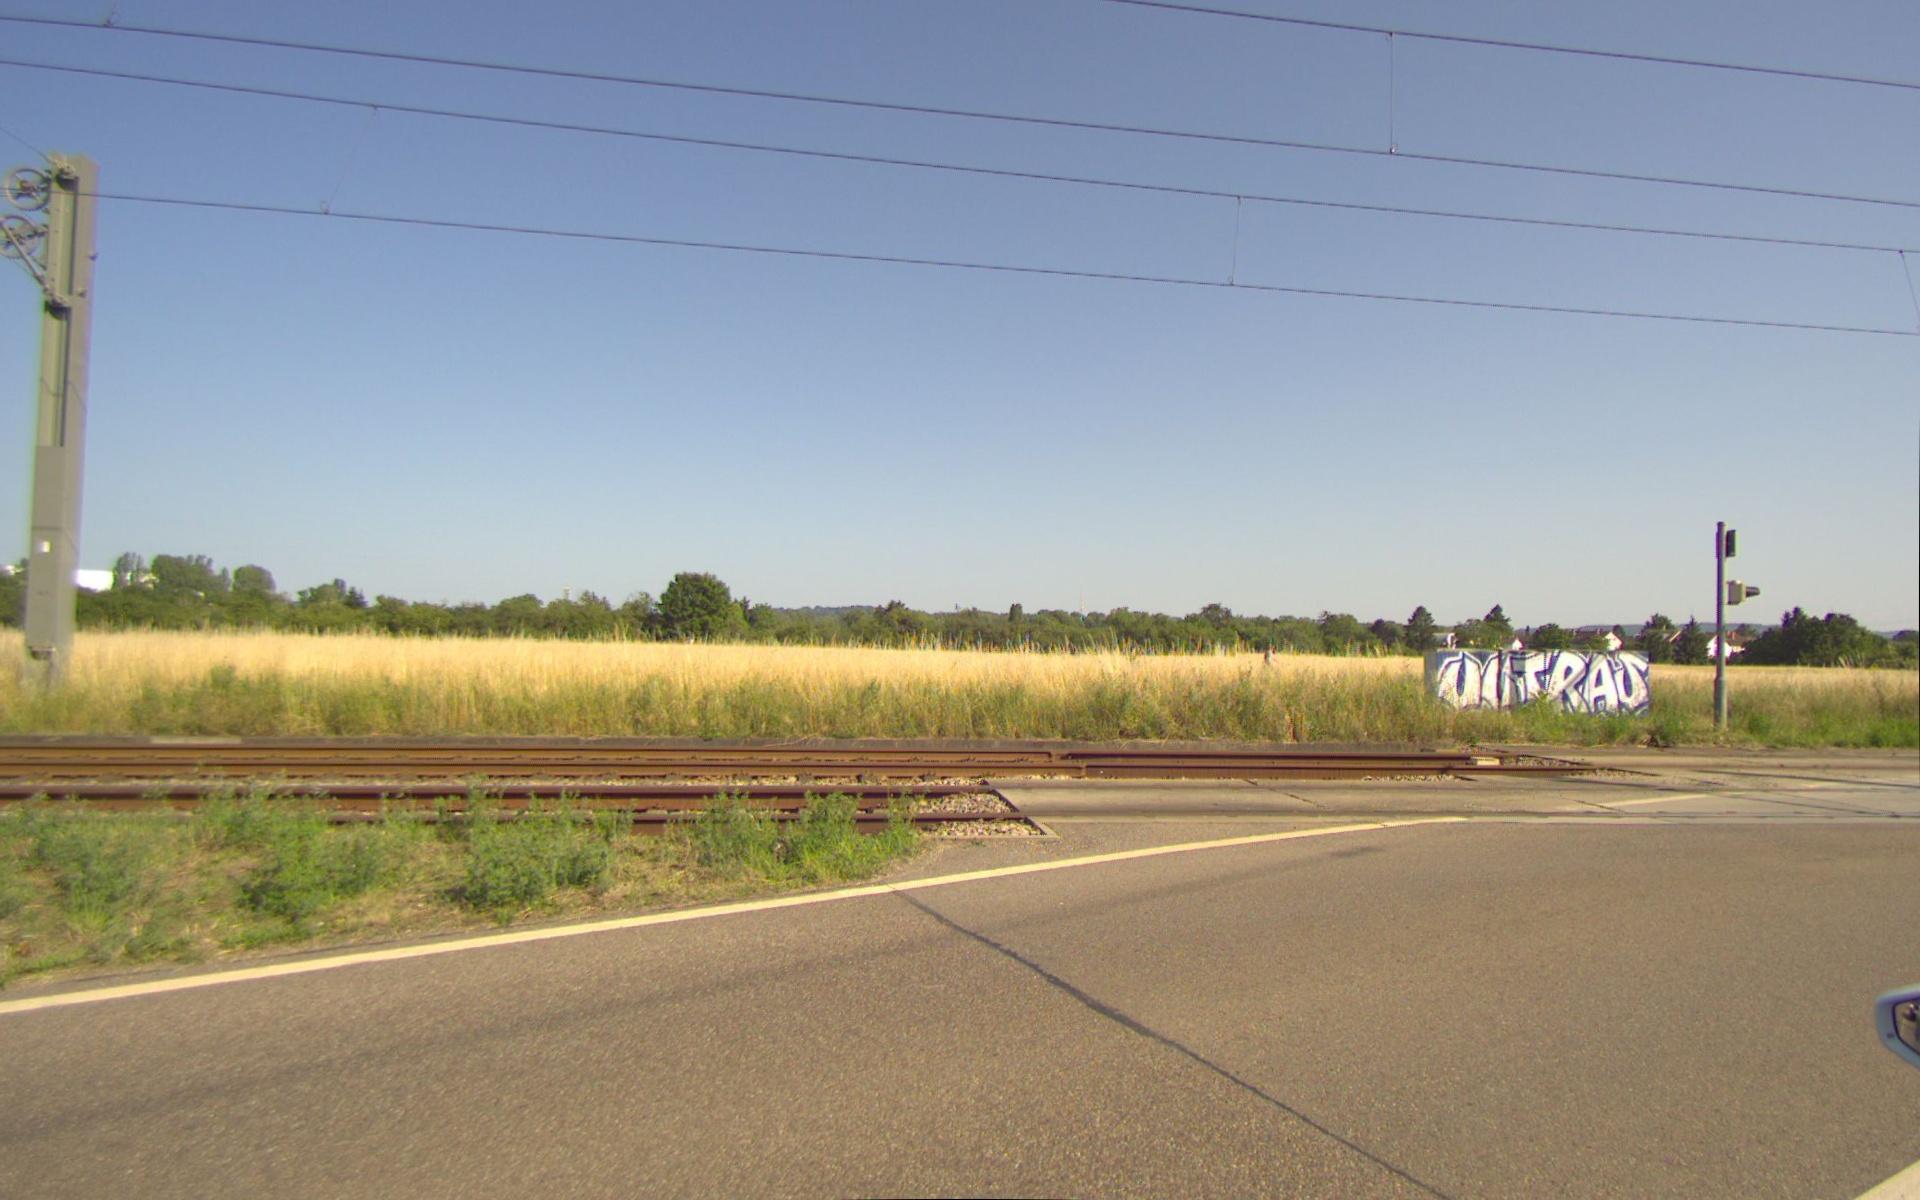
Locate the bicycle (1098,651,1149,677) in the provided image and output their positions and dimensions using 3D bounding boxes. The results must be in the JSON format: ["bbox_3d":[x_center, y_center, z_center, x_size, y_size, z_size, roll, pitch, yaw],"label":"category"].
[{"bbox_3d":[5.861,2.303,36.064,1.704,0.850,0.614,2,-1,-9],"label":"bicycle"}]

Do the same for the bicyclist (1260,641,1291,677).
[{"bbox_3d":[11.296,2.107,35.966,0.775,1.221,0.747,2,-2,-9],"label":"bicyclist"}]

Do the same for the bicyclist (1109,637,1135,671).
[{"bbox_3d":[5.808,1.933,36.061,0.775,1.221,0.603,2,-2,-9],"label":"bicyclist"}]

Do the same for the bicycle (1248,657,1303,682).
[{"bbox_3d":[11.281,2.486,35.950,1.704,0.850,0.751,2,-1,-9],"label":"bicycle"}]
